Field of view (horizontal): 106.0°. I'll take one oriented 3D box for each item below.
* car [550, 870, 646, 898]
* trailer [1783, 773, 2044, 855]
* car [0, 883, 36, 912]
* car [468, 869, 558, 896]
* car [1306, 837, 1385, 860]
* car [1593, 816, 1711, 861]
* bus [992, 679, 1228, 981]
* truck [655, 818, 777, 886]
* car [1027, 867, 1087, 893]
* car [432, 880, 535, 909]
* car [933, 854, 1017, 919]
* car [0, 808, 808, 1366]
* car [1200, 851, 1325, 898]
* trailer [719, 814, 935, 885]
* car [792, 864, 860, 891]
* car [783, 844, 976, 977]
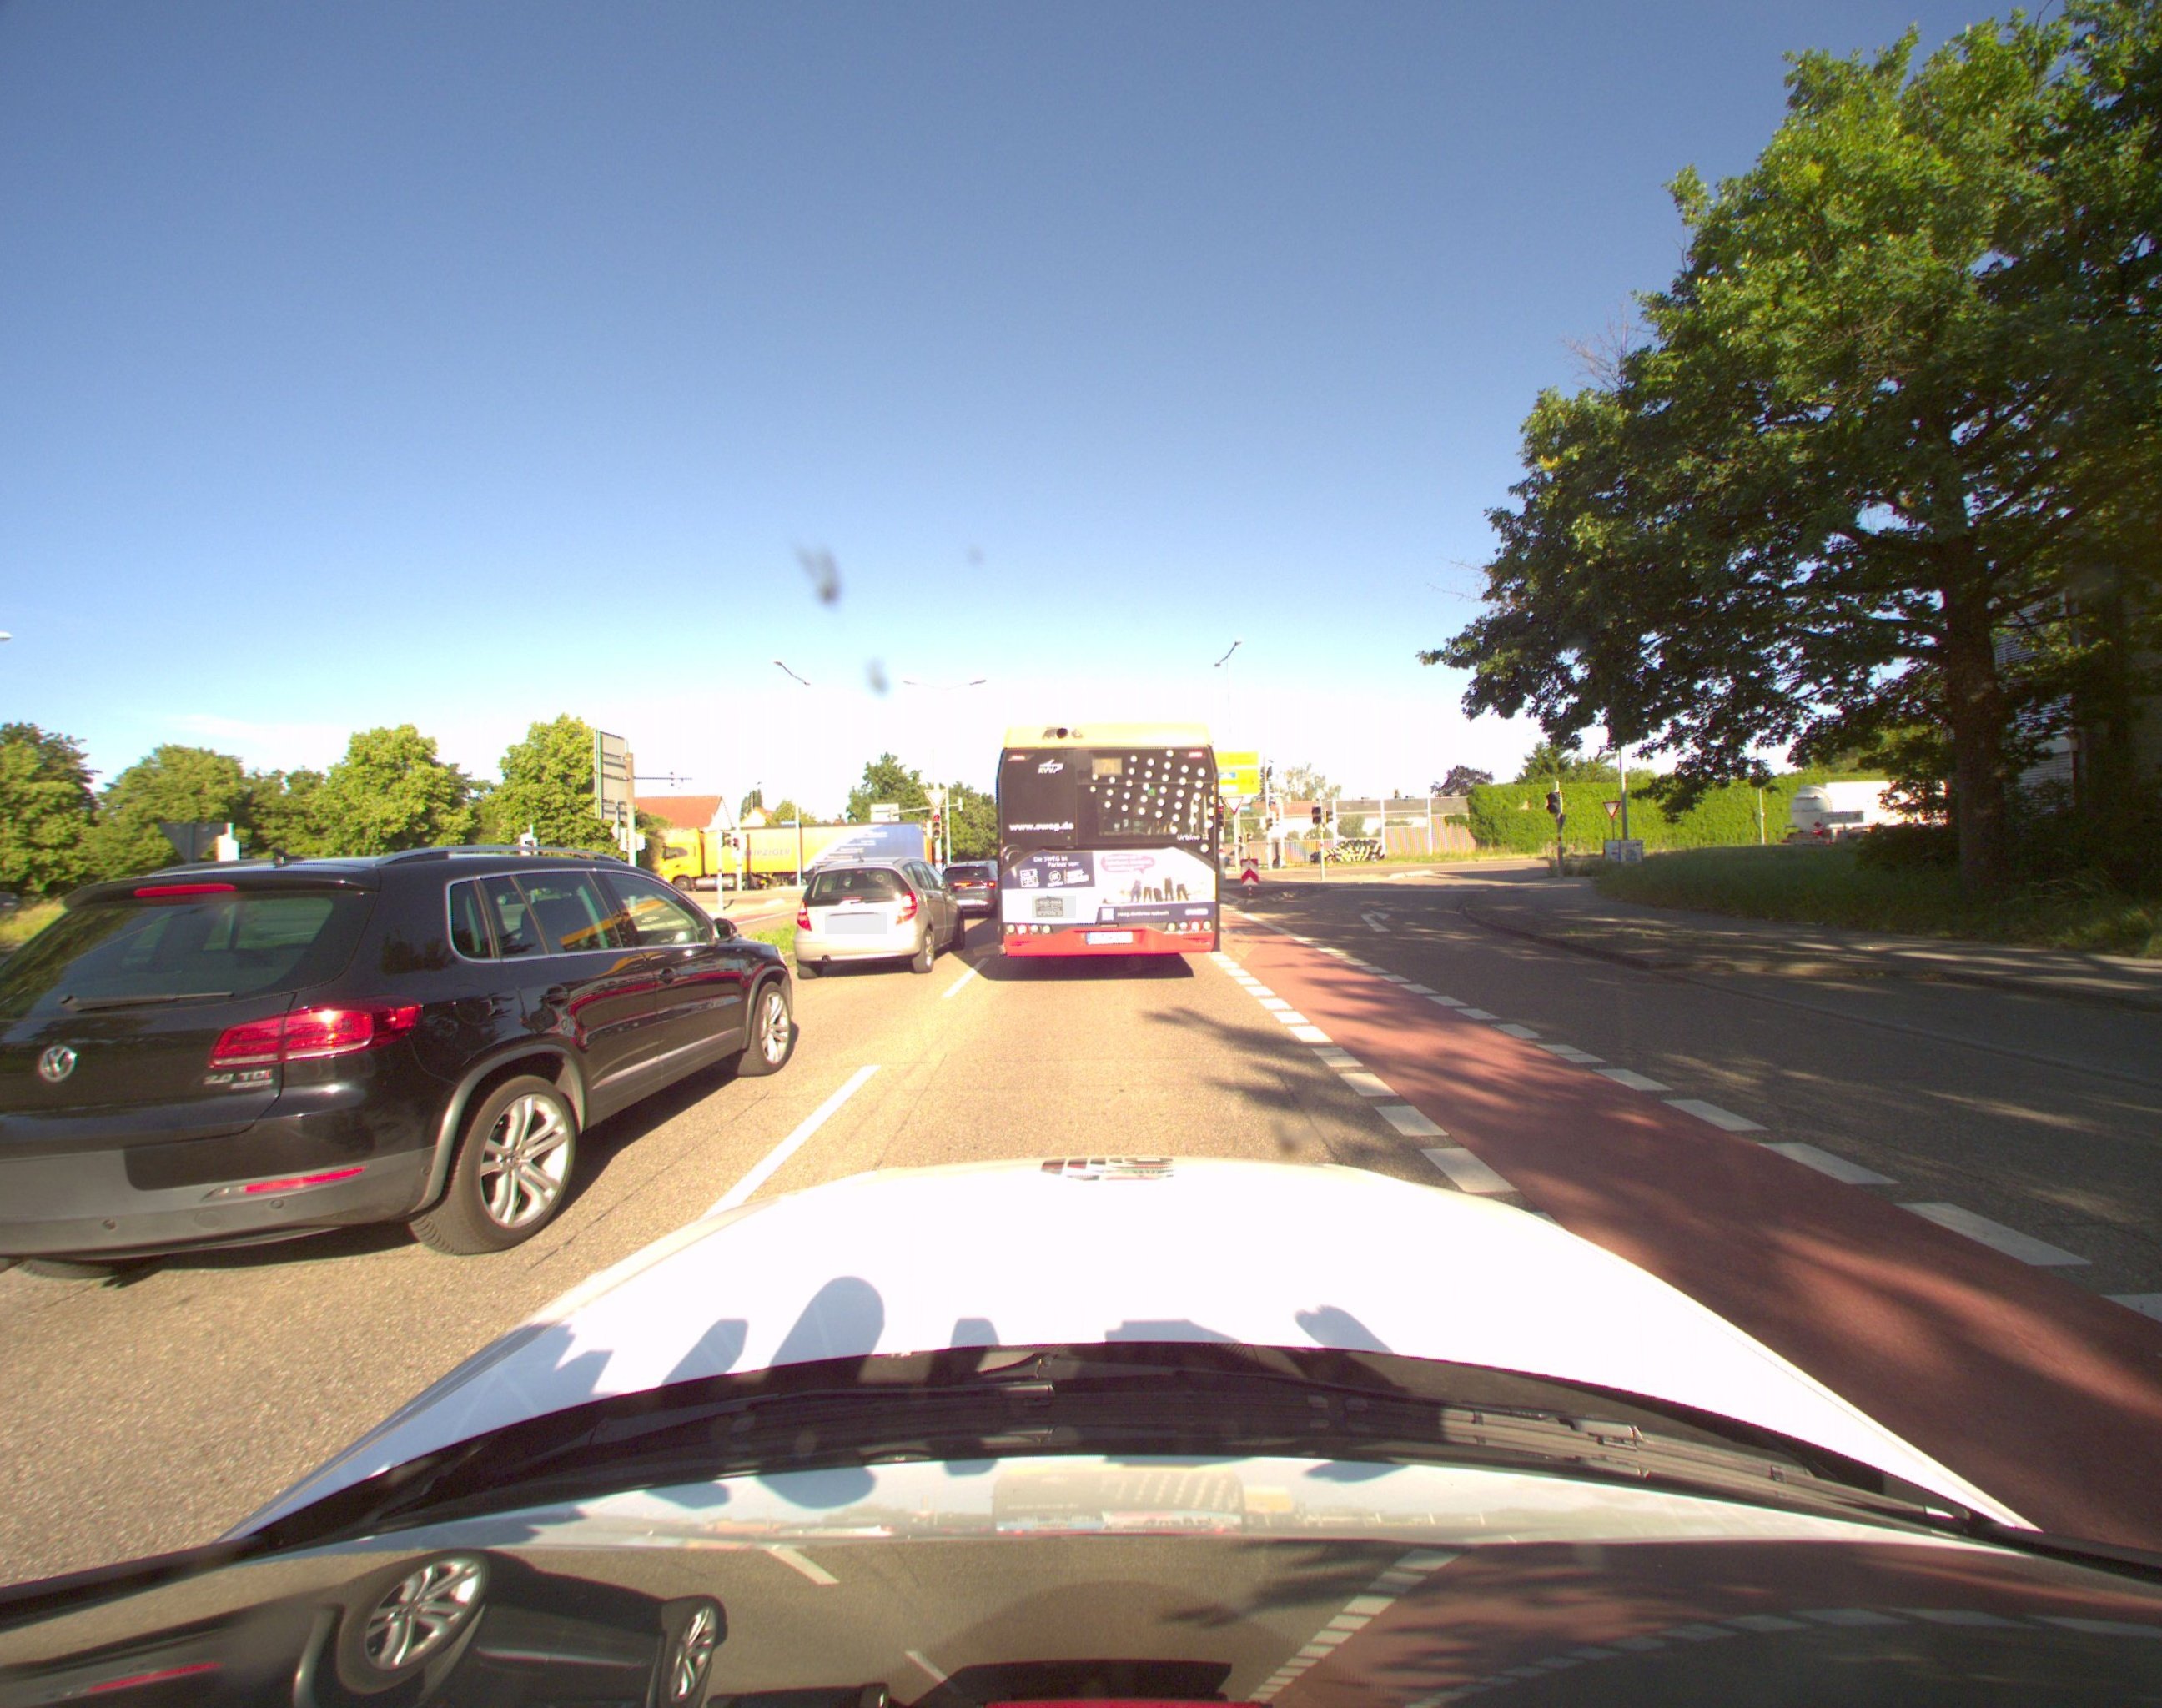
[{"bbox_3d":[-24.674,1.514,41.695,3.842,1.385,1.678,-1,-1,-7],"label":"car"},{"bbox_3d":[41.428,-1.975,40.644,11.457,3.696,2.391,-2,0,-5],"label":"trailer"},{"bbox_3d":[-60.287,2.383,44.463,3.980,1.553,1.693,-1,-1,-5],"label":"car"},{"bbox_3d":[-32.656,1.619,46.933,3.980,1.442,1.563,-1,-1,-5],"label":"car"},{"bbox_3d":[15.436,-0.304,47.637,4.148,1.302,1.573,-1,-1,-2],"label":"car"},{"bbox_3d":[17.840,-0.460,25.433,3.412,1.296,1.449,0,-1,-24],"label":"car"},{"bbox_3d":[0.513,-0.266,15.075,2.586,3.334,11.988,-1,0,2],"label":"bus"},{"bbox_3d":[-22.807,-0.117,51.170,6.387,3.998,2.468,-2,0,-5],"label":"truck"},{"bbox_3d":[-1.645,1.749,55.581,3.979,1.612,1.693,-2,0,-4],"label":"car"},{"bbox_3d":[-29.653,1.992,40.480,3.842,1.313,1.504,-1,-1,-7],"label":"car"},{"bbox_3d":[-2.660,0.790,21.187,1.583,1.486,3.683,-2,-1,1],"label":"car"},{"bbox_3d":[-3.189,0.774,4.535,1.814,1.673,4.004,-3,-1,1],"label":"car"},{"bbox_3d":[5.350,0.600,24.204,3.500,1.302,1.579,-1,1,10],"label":"car"},{"bbox_3d":[-15.933,-0.304,51.798,12.712,4.030,2.466,-2,0,-5],"label":"trailer"},{"bbox_3d":[-17.056,1.580,54.605,3.979,1.612,1.693,-2,0,-4],"label":"car"},{"bbox_3d":[-2.837,0.702,12.422,1.747,1.620,4.036,-2,1,2],"label":"car"}]
